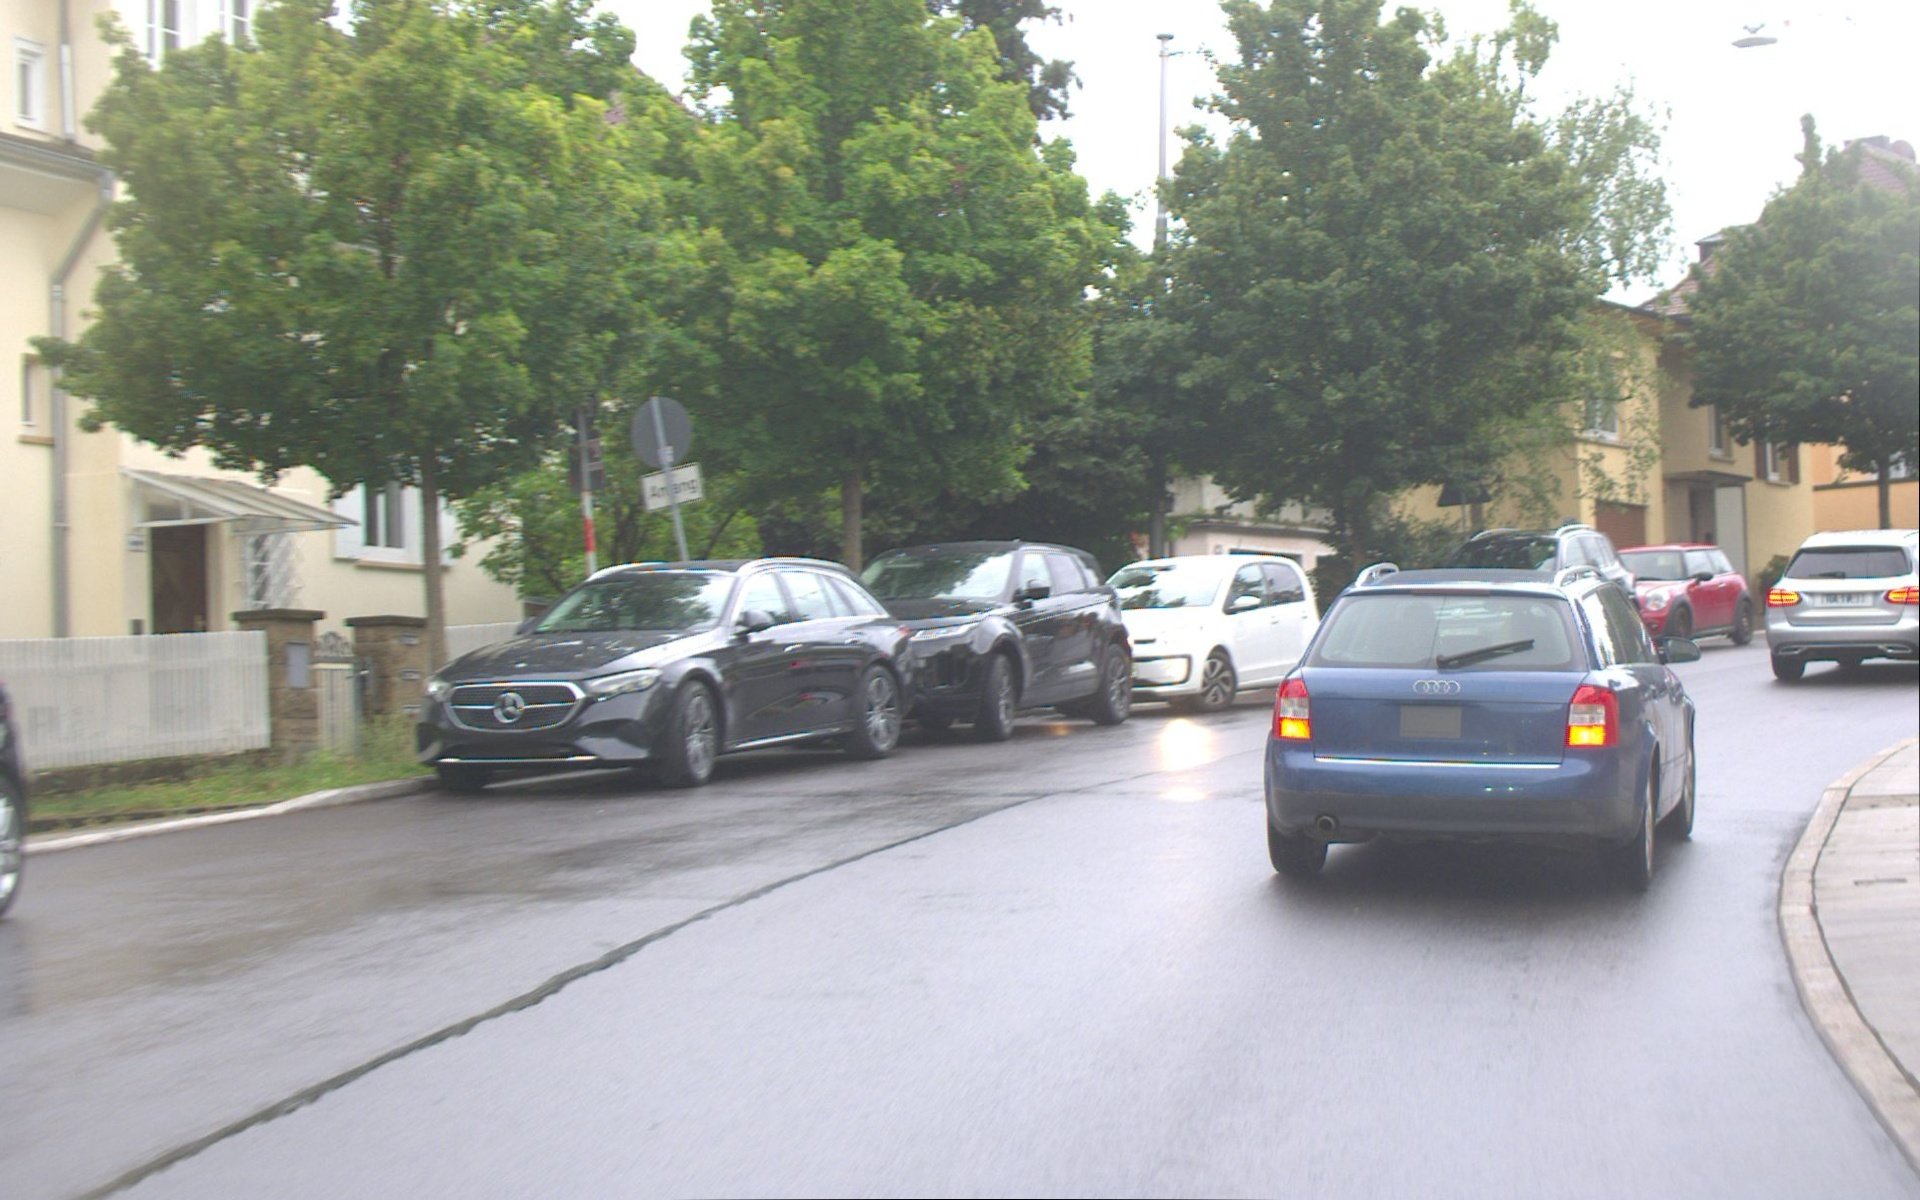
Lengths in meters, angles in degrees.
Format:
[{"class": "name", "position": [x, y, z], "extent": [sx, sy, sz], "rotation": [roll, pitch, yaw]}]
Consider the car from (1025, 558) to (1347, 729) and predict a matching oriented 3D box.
[{"class": "car", "position": [2.244, 0.381, 33.050], "extent": [1.736, 1.461, 3.995], "rotation": [-1, 1, 25]}]

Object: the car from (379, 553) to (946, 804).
[{"class": "car", "position": [-1.910, 0.474, 23.902], "extent": [1.869, 1.540, 4.899], "rotation": [-1, 0, 22]}]

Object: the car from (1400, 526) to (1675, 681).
[{"class": "car", "position": [7.023, 0.006, 41.439], "extent": [1.803, 1.663, 4.419], "rotation": [-3, 0, 29]}]

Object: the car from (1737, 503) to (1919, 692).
[{"class": "car", "position": [9.355, -0.078, 34.782], "extent": [1.978, 1.629, 4.230], "rotation": [-1, 3, 26]}]

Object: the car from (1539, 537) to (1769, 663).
[{"class": "car", "position": [9.180, -0.024, 45.258], "extent": [1.685, 1.467, 3.859], "rotation": [-4, 0, 31]}]

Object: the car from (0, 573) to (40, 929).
[{"class": "car", "position": [-4.926, 0.668, 12.704], "extent": [1.670, 1.461, 3.894], "rotation": [-2, 0, 5]}]

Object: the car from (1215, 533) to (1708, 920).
[{"class": "car", "position": [2.548, 0.521, 16.640], "extent": [1.735, 1.461, 3.998], "rotation": [-2, 3, 17]}]

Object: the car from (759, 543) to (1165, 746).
[{"class": "car", "position": [0.109, 0.321, 28.481], "extent": [1.736, 1.540, 4.205], "rotation": [-1, 0, 25]}]
